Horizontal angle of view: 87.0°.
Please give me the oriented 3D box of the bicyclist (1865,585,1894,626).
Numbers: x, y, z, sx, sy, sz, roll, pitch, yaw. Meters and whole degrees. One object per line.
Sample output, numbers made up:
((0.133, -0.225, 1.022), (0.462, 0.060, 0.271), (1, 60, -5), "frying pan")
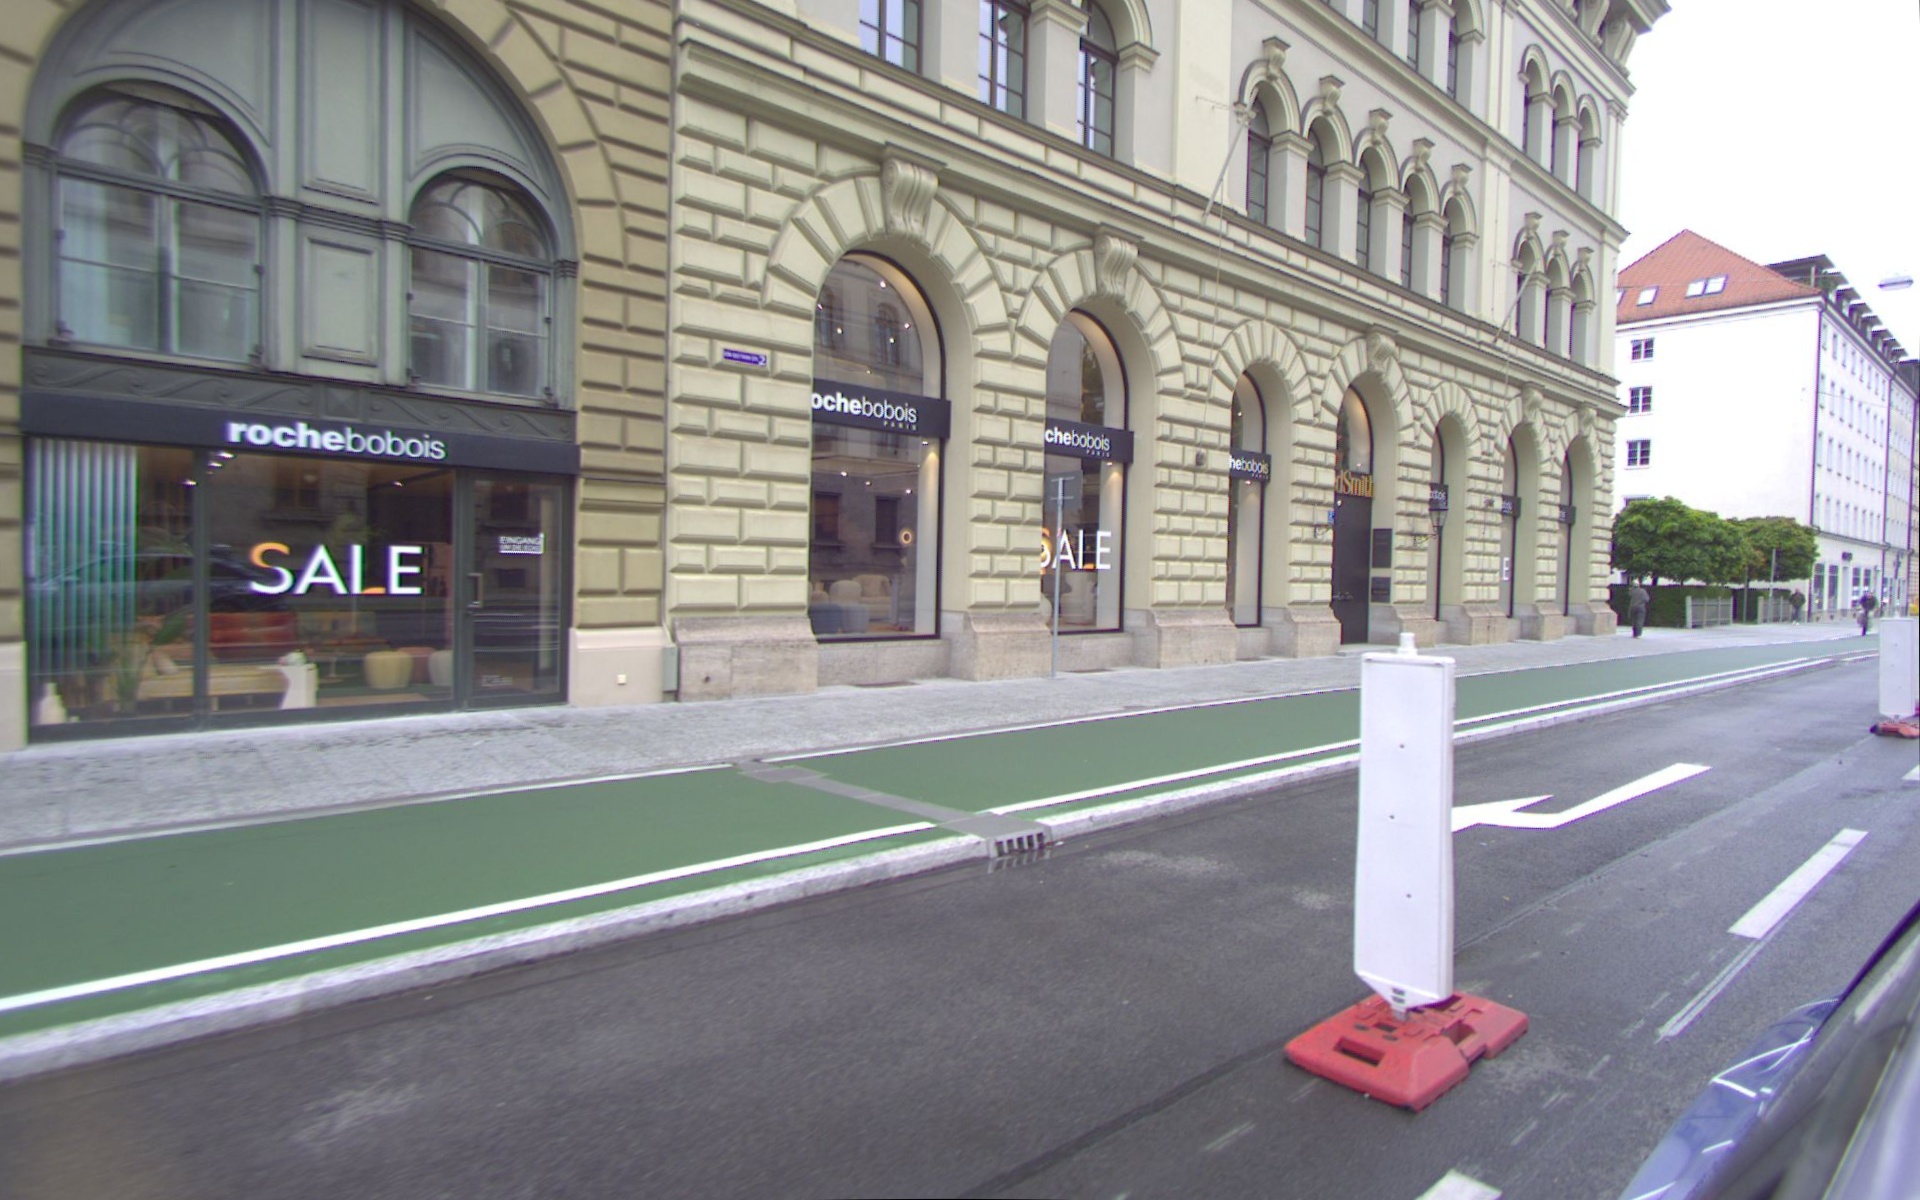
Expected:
((35.196, 0.207, 38.721), (0.843, 1.572, 0.723), (0, 0, -41), "bicyclist")

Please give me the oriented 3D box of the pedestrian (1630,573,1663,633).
((20.399, 0.085, 30.055), (0.632, 1.725, 1.069), (3, 2, 41), "pedestrian")

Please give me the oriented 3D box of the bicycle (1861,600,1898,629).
((35.213, 0.549, 38.740), (2.487, 1.045, 0.750), (0, 1, -41), "bicycle")

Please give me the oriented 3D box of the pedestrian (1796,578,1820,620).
((39.491, -0.051, 47.145), (0.811, 1.897, 0.655), (0, 3, -41), "pedestrian")
